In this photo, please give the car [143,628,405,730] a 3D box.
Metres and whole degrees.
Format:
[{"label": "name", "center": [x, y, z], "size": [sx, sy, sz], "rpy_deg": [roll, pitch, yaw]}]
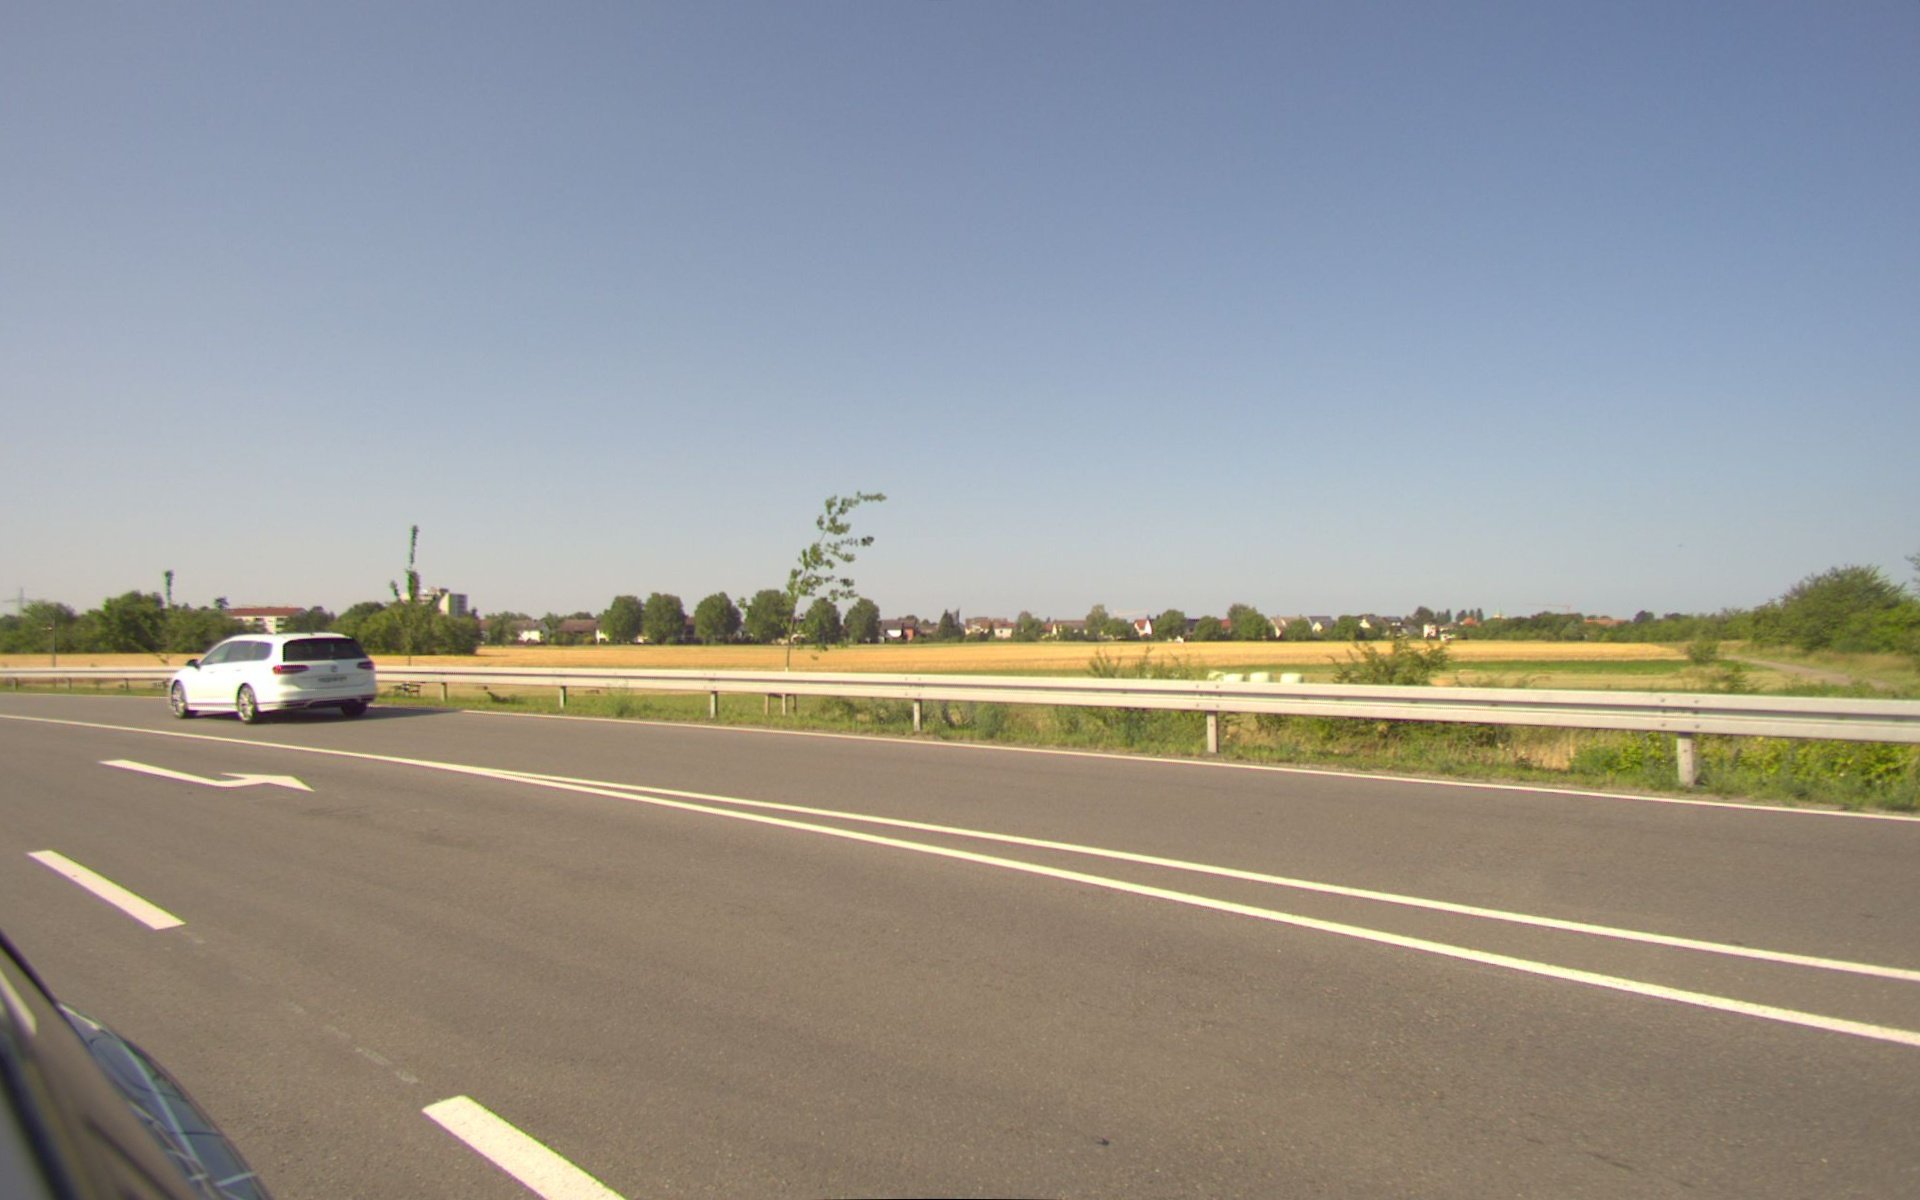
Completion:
[{"label": "car", "center": [-12.251, 1.417, 17.951], "size": [5.139, 1.504, 2.097], "rpy_deg": [-5, -2, 34]}]
